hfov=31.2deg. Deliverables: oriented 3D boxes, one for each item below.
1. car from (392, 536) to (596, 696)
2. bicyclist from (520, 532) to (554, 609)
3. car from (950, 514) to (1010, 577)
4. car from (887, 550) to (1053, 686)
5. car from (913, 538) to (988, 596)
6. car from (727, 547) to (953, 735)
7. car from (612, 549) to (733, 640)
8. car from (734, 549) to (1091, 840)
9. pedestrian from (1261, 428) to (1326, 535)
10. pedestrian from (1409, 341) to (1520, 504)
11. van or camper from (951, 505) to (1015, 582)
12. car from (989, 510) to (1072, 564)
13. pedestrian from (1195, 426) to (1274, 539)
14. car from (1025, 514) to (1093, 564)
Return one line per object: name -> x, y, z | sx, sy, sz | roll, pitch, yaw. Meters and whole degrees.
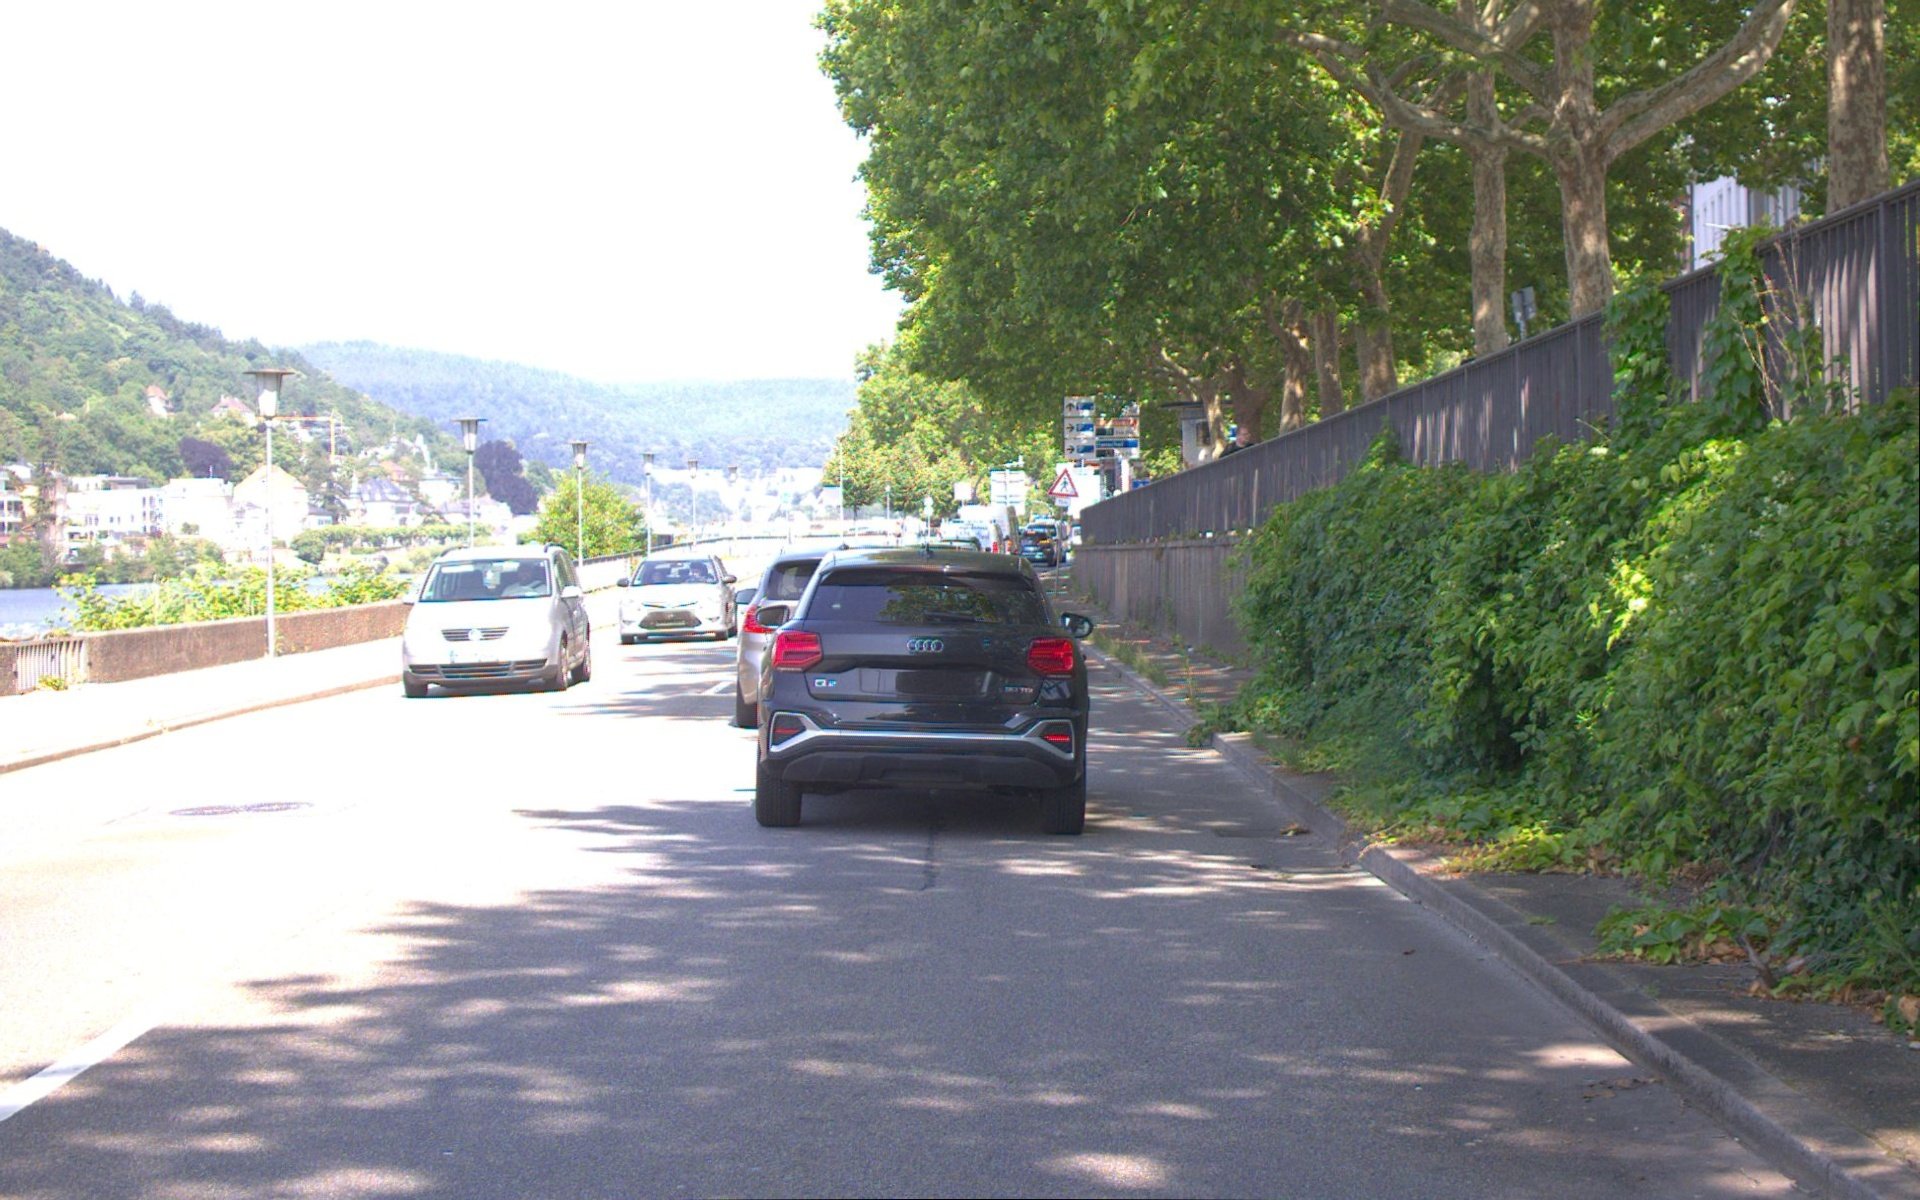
car -> -5.195, 0.141, 38.803 | 1.731, 1.644, 4.177 | -2, 1, -1
bicyclist -> -9.220, -0.645, 74.966 | 0.637, 1.668, 0.871 | -1, 1, -1
car -> 0.686, -1.929, 120.277 | 1.993, 2.162, 4.000 | 0, 1, -1
car -> 0.081, 0.171, 39.989 | 1.828, 1.481, 4.000 | 0, 1, -1
car -> -0.261, -0.862, 87.570 | 1.828, 1.439, 4.000 | 0, 1, -1
car -> -1.011, 0.305, 29.959 | 1.828, 1.506, 4.000 | 0, 1, -1
car -> -4.768, -0.121, 57.508 | 1.731, 1.437, 4.046 | -1, 1, -1
car -> -0.278, 0.457, 19.686 | 1.828, 1.481, 4.000 | 0, 1, -1
pedestrian -> 4.407, -1.559, 45.479 | 0.680, 1.361, 0.989 | -3, 1, -1
pedestrian -> 4.424, -1.553, 30.219 | 0.753, 1.361, 0.814 | -3, 1, -2
van or camper -> 0.896, -2.155, 130.411 | 2.310, 2.837, 4.246 | -1, 1, 1
car -> 2.876, -2.610, 141.810 | 3.098, 2.007, 5.825 | -3, 1, -1
pedestrian -> 3.978, -1.702, 49.931 | 0.936, 1.574, 1.028 | -3, 1, -2
car -> 4.353, -2.706, 152.627 | 2.661, 2.007, 5.825 | -3, 1, -1
